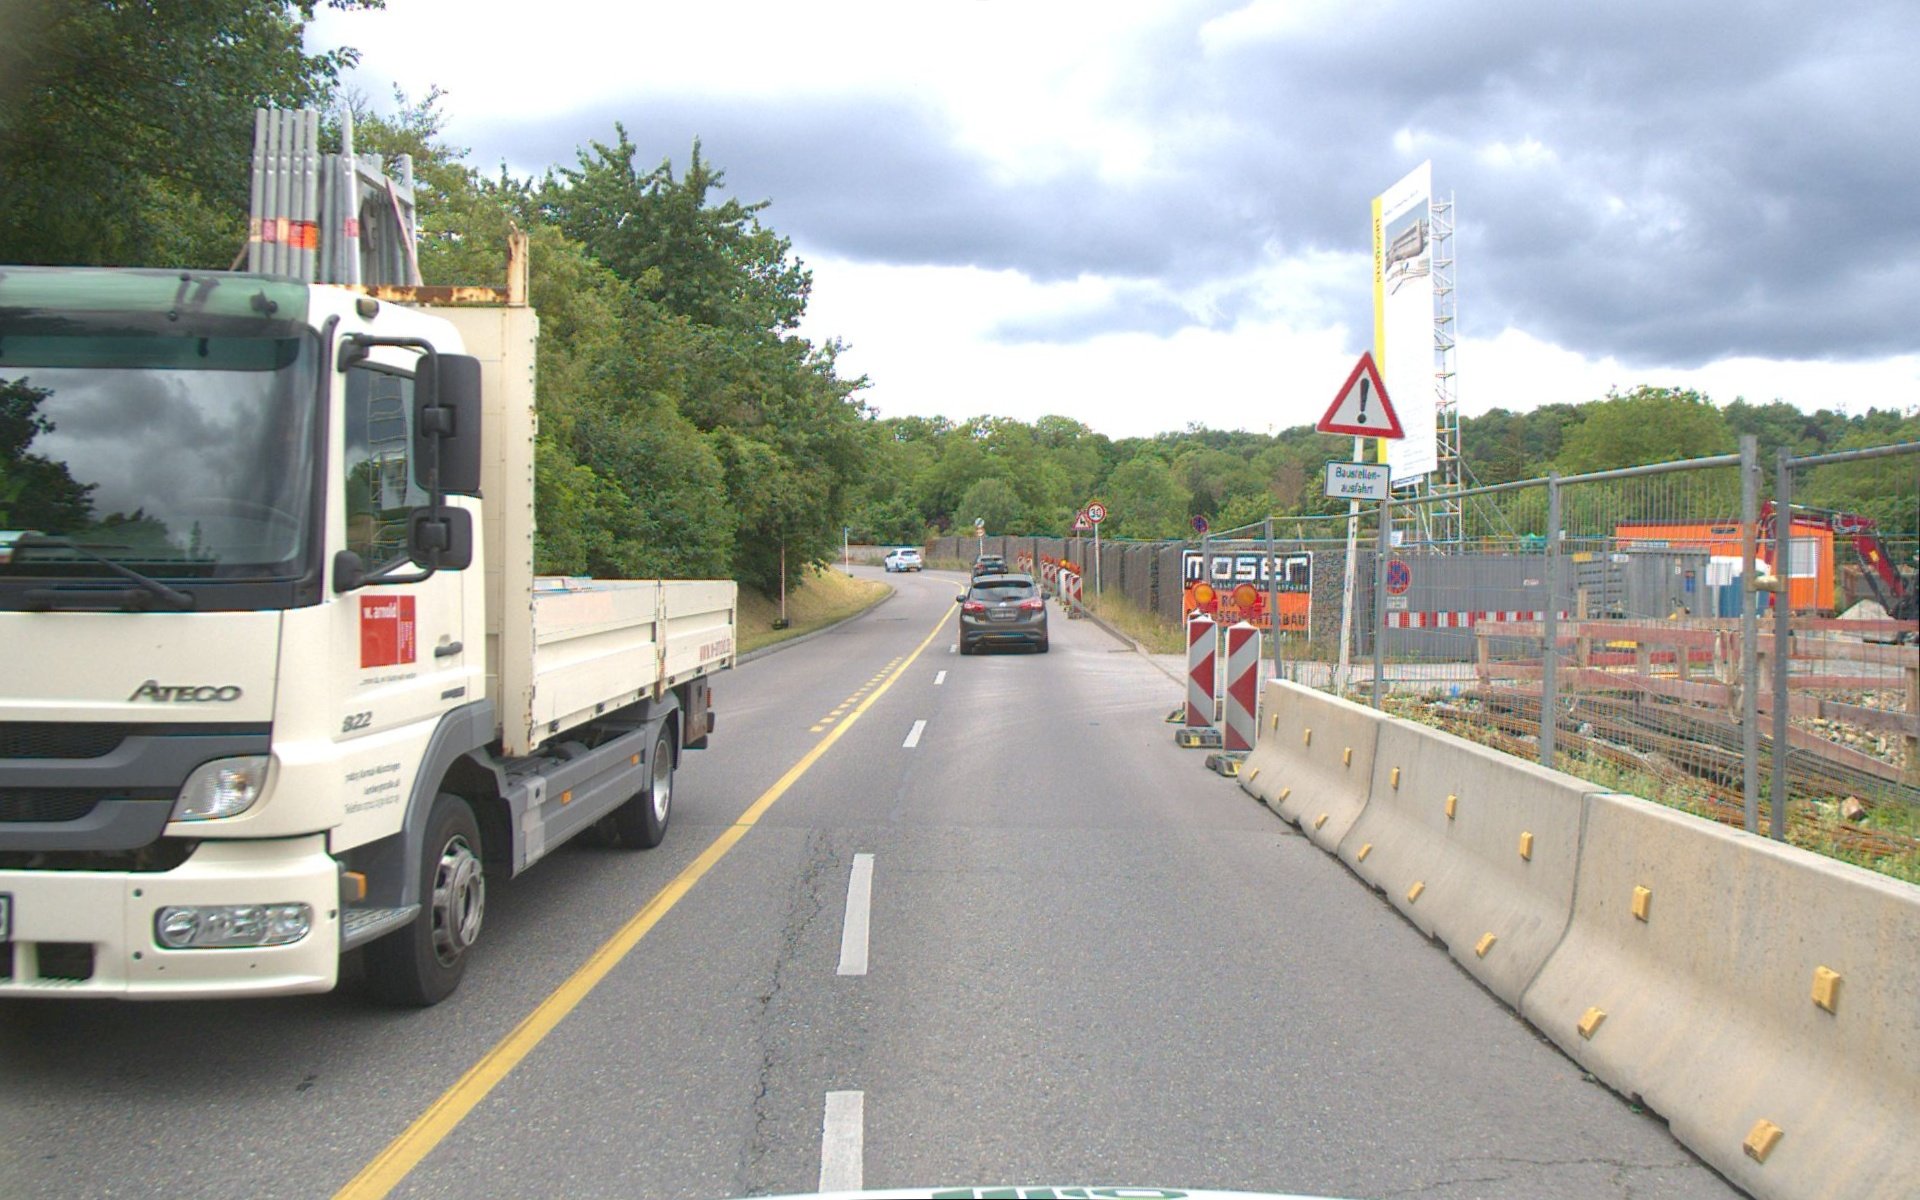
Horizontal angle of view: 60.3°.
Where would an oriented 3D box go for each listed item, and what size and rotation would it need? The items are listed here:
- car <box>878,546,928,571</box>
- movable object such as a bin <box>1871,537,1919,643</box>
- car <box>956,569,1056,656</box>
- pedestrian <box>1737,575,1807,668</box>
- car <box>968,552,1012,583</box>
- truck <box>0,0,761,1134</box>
[{"bbox_3d":[-3.744,-2.733,108.124,1.811,1.464,3.885,-1,3,-28],"label":"car"},{"bbox_3d":[24.665,-0.234,41.612,2.693,2.630,1.988,1,-1,41],"label":"movable object such as a bin"},{"bbox_3d":[0.874,0.202,33.648,1.802,1.509,4.000,-3,2,-1],"label":"car"},{"bbox_3d":[17.276,0.451,35.215,0.809,1.935,1.153,1,0,-10],"label":"pedestrian"},{"bbox_3d":[1.494,-1.617,83.114,1.745,1.478,3.852,1,0,-6],"label":"car"},{"bbox_3d":[-2.863,-0.298,8.060,2.694,3.315,7.611,1,0,1],"label":"truck"}]
